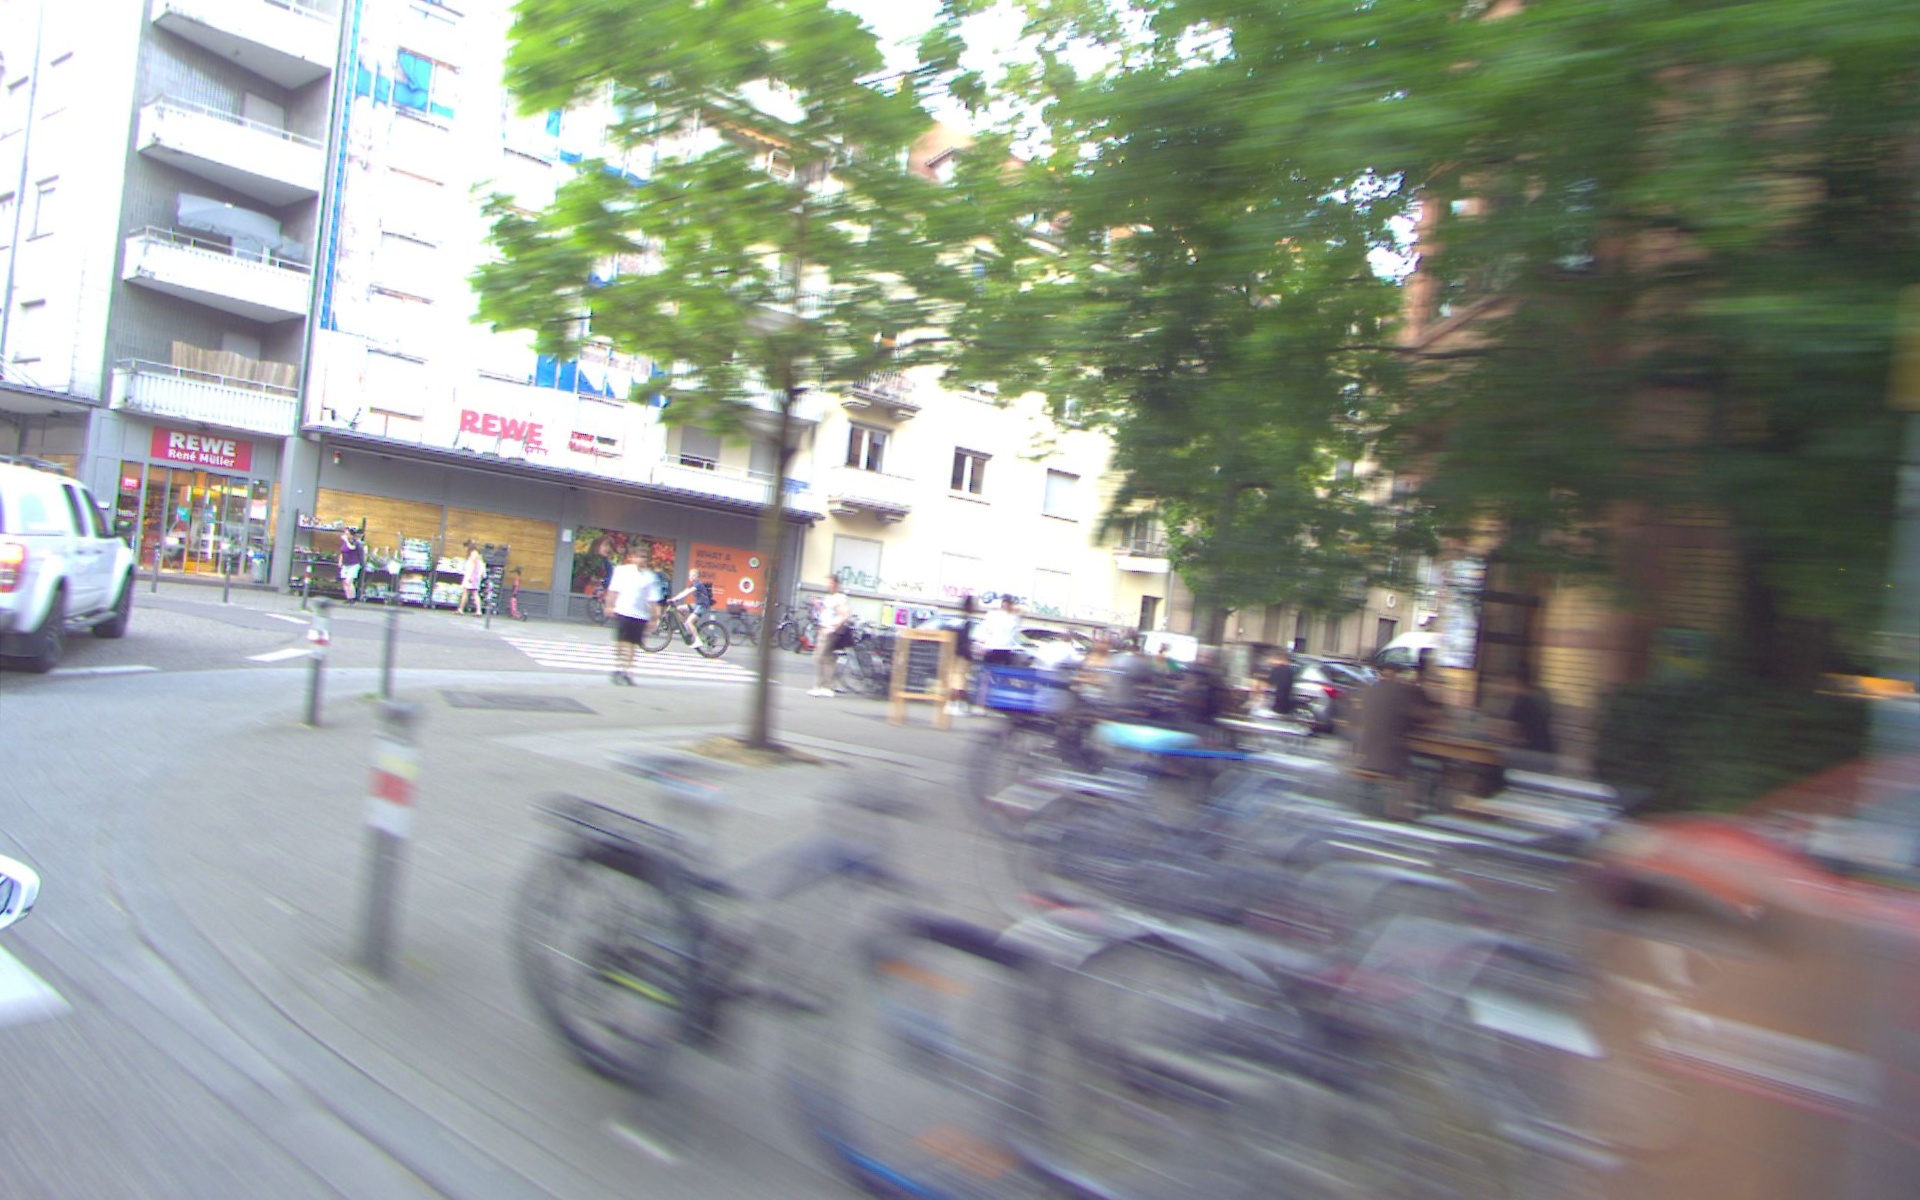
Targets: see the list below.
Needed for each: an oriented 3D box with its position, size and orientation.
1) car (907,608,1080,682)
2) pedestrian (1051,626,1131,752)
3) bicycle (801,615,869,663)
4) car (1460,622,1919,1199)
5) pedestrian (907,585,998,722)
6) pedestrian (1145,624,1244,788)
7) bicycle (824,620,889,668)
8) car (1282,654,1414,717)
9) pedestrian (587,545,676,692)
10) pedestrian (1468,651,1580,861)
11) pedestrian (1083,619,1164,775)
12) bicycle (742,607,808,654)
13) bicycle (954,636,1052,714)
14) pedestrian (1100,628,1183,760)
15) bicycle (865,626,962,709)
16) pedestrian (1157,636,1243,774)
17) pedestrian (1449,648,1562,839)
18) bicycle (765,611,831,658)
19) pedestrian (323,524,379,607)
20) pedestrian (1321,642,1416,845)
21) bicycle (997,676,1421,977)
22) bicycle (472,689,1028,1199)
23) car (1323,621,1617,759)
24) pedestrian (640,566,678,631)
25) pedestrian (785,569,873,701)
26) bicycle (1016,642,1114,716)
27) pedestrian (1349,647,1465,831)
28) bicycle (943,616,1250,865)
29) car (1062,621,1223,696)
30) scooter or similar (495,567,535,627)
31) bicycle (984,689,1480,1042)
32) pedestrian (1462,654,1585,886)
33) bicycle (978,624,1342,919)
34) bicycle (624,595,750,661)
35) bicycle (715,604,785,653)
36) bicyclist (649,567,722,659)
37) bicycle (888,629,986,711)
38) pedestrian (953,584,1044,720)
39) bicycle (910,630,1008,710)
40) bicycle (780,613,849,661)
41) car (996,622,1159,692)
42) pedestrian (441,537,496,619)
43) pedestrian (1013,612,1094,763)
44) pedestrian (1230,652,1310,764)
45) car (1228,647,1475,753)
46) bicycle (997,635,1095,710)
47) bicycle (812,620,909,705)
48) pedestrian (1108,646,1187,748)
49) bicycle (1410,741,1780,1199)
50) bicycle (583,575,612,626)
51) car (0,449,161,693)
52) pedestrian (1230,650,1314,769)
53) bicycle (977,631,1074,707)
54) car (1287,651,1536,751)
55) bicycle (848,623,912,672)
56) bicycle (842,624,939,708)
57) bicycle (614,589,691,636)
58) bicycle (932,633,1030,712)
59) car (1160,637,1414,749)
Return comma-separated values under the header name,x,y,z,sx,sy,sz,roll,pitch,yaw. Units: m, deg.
name,x,y,z,sx,sy,sz,roll,pitch,yaw
car,0.987,1.314,28.992,4.460,1.543,2.002,6,-2,20
pedestrian,1.435,0.974,10.995,0.565,1.284,0.545,6,-2,33
bicycle,-3.127,1.007,25.371,0.483,1.038,2.013,6,-3,30
car,3.317,1.041,2.819,1.661,1.648,4.047,7,1,1
pedestrian,-0.115,0.728,13.903,0.825,1.743,0.865,7,-2,-20
pedestrian,2.151,0.964,9.217,0.566,1.396,0.544,5,-2,39
bicycle,-2.577,1.121,25.290,0.483,1.038,2.015,6,-3,28
car,14.821,3.275,38.618,4.461,1.805,2.001,6,-2,21
pedestrian,-4.326,0.254,13.333,0.855,1.790,0.946,7,-2,-14
pedestrian,4.137,1.120,7.410,0.505,1.425,0.555,6,-2,20
pedestrian,1.568,0.920,9.609,0.459,1.396,0.546,6,-2,30
bicycle,-4.817,0.817,26.318,0.371,1.038,2.013,6,-3,30
bicycle,0.722,1.279,17.578,0.432,1.147,2.016,8,-2,-36
pedestrian,1.901,0.977,10.505,0.565,1.284,0.545,6,-2,33
bicycle,-0.792,1.075,16.436,0.432,1.147,2.016,8,-2,-36
pedestrian,2.409,1.048,10.082,0.565,1.284,0.545,6,-2,33
pedestrian,4.431,1.147,8.208,0.608,1.425,0.514,6,-2,20
bicycle,-4.148,0.908,25.914,0.371,1.038,2.013,6,-3,30
pedestrian,-13.029,-0.721,21.531,0.708,1.671,0.711,7,-2,-19
pedestrian,3.115,1.071,7.710,0.505,1.425,0.640,6,-2,20
bicycle,1.107,1.013,4.738,1.735,1.077,0.598,6,2,5
bicycle,-0.636,0.883,2.789,1.525,1.076,0.365,6,-2,29
car,11.537,1.964,23.220,2.226,2.448,5.492,8,-3,-35
pedestrian,-7.956,-0.032,26.565,0.659,1.619,0.713,7,-2,-28
pedestrian,-1.961,0.542,15.156,0.852,1.849,0.838,6,-2,15
bicycle,1.900,1.427,18.539,0.432,1.147,2.016,8,-2,-36
pedestrian,3.746,1.145,8.463,0.608,1.425,0.514,7,-1,-1
bicycle,0.824,0.854,6.324,1.692,1.304,0.598,7,0,-5
car,5.776,1.845,31.987,4.470,1.805,1.997,5,-3,32
scooter or similar,-10.557,-0.087,23.848,0.320,1.282,1.273,8,0,-43
bicycle,1.040,1.017,4.106,1.735,1.076,0.599,7,-2,5
pedestrian,3.771,1.114,6.770,0.505,1.425,0.555,6,-2,20
bicycle,1.053,0.893,5.516,1.735,1.303,0.599,7,-2,5
bicycle,-5.467,0.578,20.236,0.781,1.086,2.272,7,-1,45
bicycle,-5.216,0.720,25.057,1.651,1.038,0.374,9,-3,-41
bicyclist,-5.494,0.262,20.163,0.992,1.709,0.781,7,0,-45
bicycle,-0.415,1.136,16.739,0.432,1.147,2.016,8,-2,-36
pedestrian,0.567,0.761,14.609,0.853,1.849,0.837,6,-2,27
bicycle,-0.052,1.161,17.029,0.432,1.147,2.016,8,-2,-36
bicycle,-3.693,0.953,25.676,0.483,1.038,2.013,6,-3,30
car,3.520,1.702,30.585,4.483,1.543,1.992,5,-3,42
pedestrian,-11.194,-0.499,22.928,0.656,1.746,0.720,5,-2,36
pedestrian,0.925,0.854,9.878,0.459,1.396,0.546,6,-2,30
pedestrian,4.111,1.424,13.327,0.728,1.361,0.625,5,-2,35
car,7.742,1.955,20.306,1.892,1.543,4.260,8,-3,-31
bicycle,1.531,1.285,18.262,0.432,1.147,2.016,8,-2,-36
bicycle,-1.596,0.955,15.828,0.432,1.147,2.016,8,-2,-36
pedestrian,2.496,1.287,13.395,0.728,1.246,0.625,5,-2,35
bicycle,1.573,1.064,2.728,0.358,1.175,1.552,6,0,18
bicycle,-9.210,0.038,25.623,0.343,1.217,1.806,7,-2,-13
car,-9.206,-0.453,9.370,1.924,1.832,4.960,8,-1,-31
pedestrian,3.922,1.367,12.630,0.728,1.361,0.625,5,-2,35
bicycle,1.136,1.204,17.960,0.432,1.147,2.016,8,-2,-36
car,9.618,2.117,21.803,1.980,1.543,4.509,8,-3,-31
bicycle,-1.961,1.193,24.947,0.483,1.038,2.015,6,-3,28
bicycle,-1.152,1.024,16.145,0.432,1.147,2.016,8,-2,-36
bicycle,-8.265,0.335,27.103,1.865,1.038,0.374,9,-2,-35
bicycle,0.335,1.222,17.305,0.432,1.147,2.016,8,-2,-36
car,6.024,1.683,19.034,1.892,1.543,4.260,8,-3,-31
